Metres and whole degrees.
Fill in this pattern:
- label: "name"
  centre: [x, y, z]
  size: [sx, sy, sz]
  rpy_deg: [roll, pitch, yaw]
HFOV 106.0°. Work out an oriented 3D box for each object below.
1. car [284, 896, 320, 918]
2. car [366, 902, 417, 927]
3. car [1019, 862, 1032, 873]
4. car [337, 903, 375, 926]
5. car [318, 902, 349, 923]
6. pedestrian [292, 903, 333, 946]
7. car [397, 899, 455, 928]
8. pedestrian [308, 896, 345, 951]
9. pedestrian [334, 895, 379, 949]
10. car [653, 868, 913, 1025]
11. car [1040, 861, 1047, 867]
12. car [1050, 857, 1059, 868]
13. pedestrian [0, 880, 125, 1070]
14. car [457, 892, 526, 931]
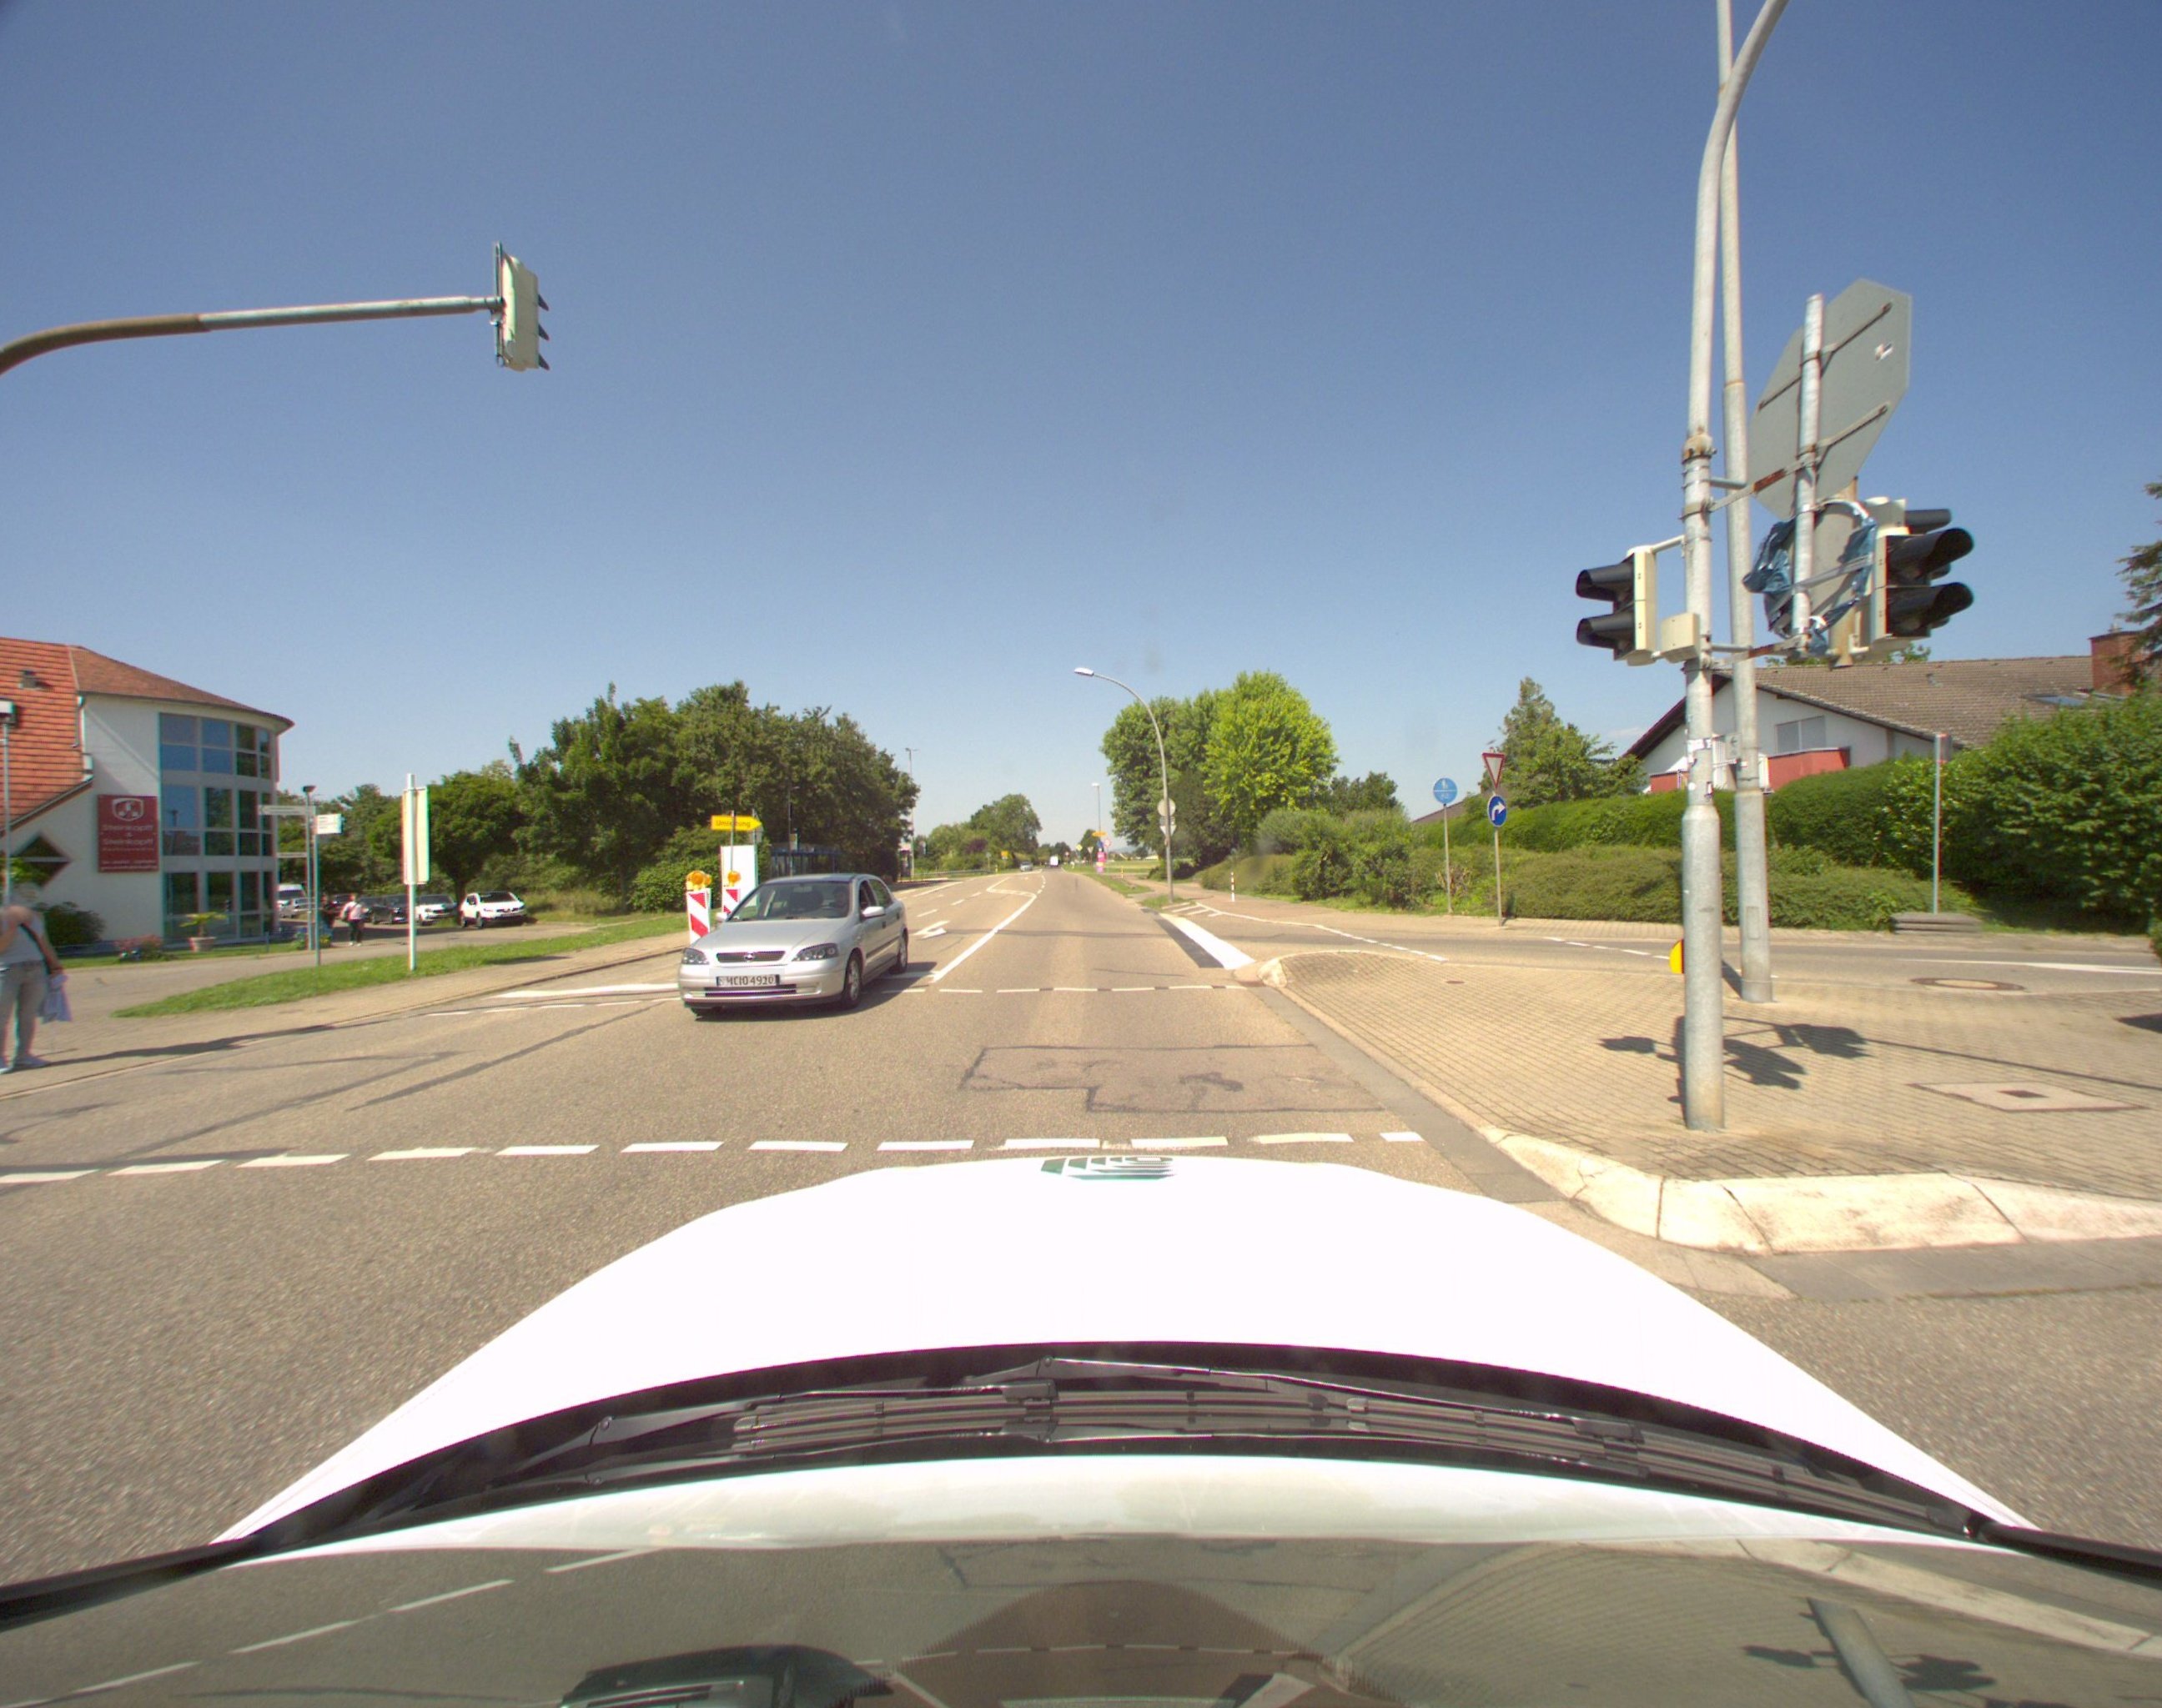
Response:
- label: "car"
  centre: [-57.489, 3.885, 60.066]
  size: [3.455, 1.492, 1.704]
  rpy_deg: [-2, -1, 43]
- label: "car"
  centre: [-37.841, 3.300, 44.681]
  size: [3.513, 1.204, 1.462]
  rpy_deg: [-2, -1, 38]
- label: "car"
  centre: [-8.582, 2.070, 126.257]
  size: [1.630, 1.471, 4.416]
  rpy_deg: [-2, 0, 1]
- label: "car"
  centre: [-42.720, 3.562, 47.975]
  size: [2.904, 1.228, 1.235]
  rpy_deg: [-3, -1, 41]
- label: "car"
  centre: [-49.257, 3.827, 53.651]
  size: [2.916, 1.243, 1.310]
  rpy_deg: [-3, -1, 44]
- label: "pedestrian"
  centre: [-30.090, 2.747, 31.898]
  size: [0.780, 1.566, 0.929]
  rpy_deg: [-3, -1, 27]
- label: "car"
  centre: [-33.846, 3.035, 42.058]
  size: [3.336, 1.348, 1.694]
  rpy_deg: [-3, -1, 40]
- label: "pedestrian"
  centre: [-25.940, 2.373, 27.991]
  size: [0.794, 1.822, 0.714]
  rpy_deg: [-2, -1, 31]
- label: "pedestrian"
  centre: [-24.185, 2.252, 27.190]
  size: [0.948, 1.740, 0.820]
  rpy_deg: [-2, -1, 30]
- label: "car"
  centre: [-3.221, 0.903, 9.692]
  size: [1.695, 1.403, 3.976]
  rpy_deg: [-2, -1, -2]
- label: "car"
  centre: [-11.805, 3.070, 256.144]
  size: [2.140, 1.951, 5.240]
  rpy_deg: [-2, 0, -4]
- label: "car"
  centre: [-6.841, 2.126, 210.914]
  size: [1.991, 2.651, 3.991]
  rpy_deg: [-2, -1, -6]
- label: "pedestrian"
  centre: [-9.398, 1.056, 7.373]
  size: [0.612, 1.608, 0.688]
  rpy_deg: [1, -1, 0]
- label: "car"
  centre: [-26.838, 2.564, 37.046]
  size: [3.536, 1.568, 1.817]
  rpy_deg: [-3, -1, 41]
